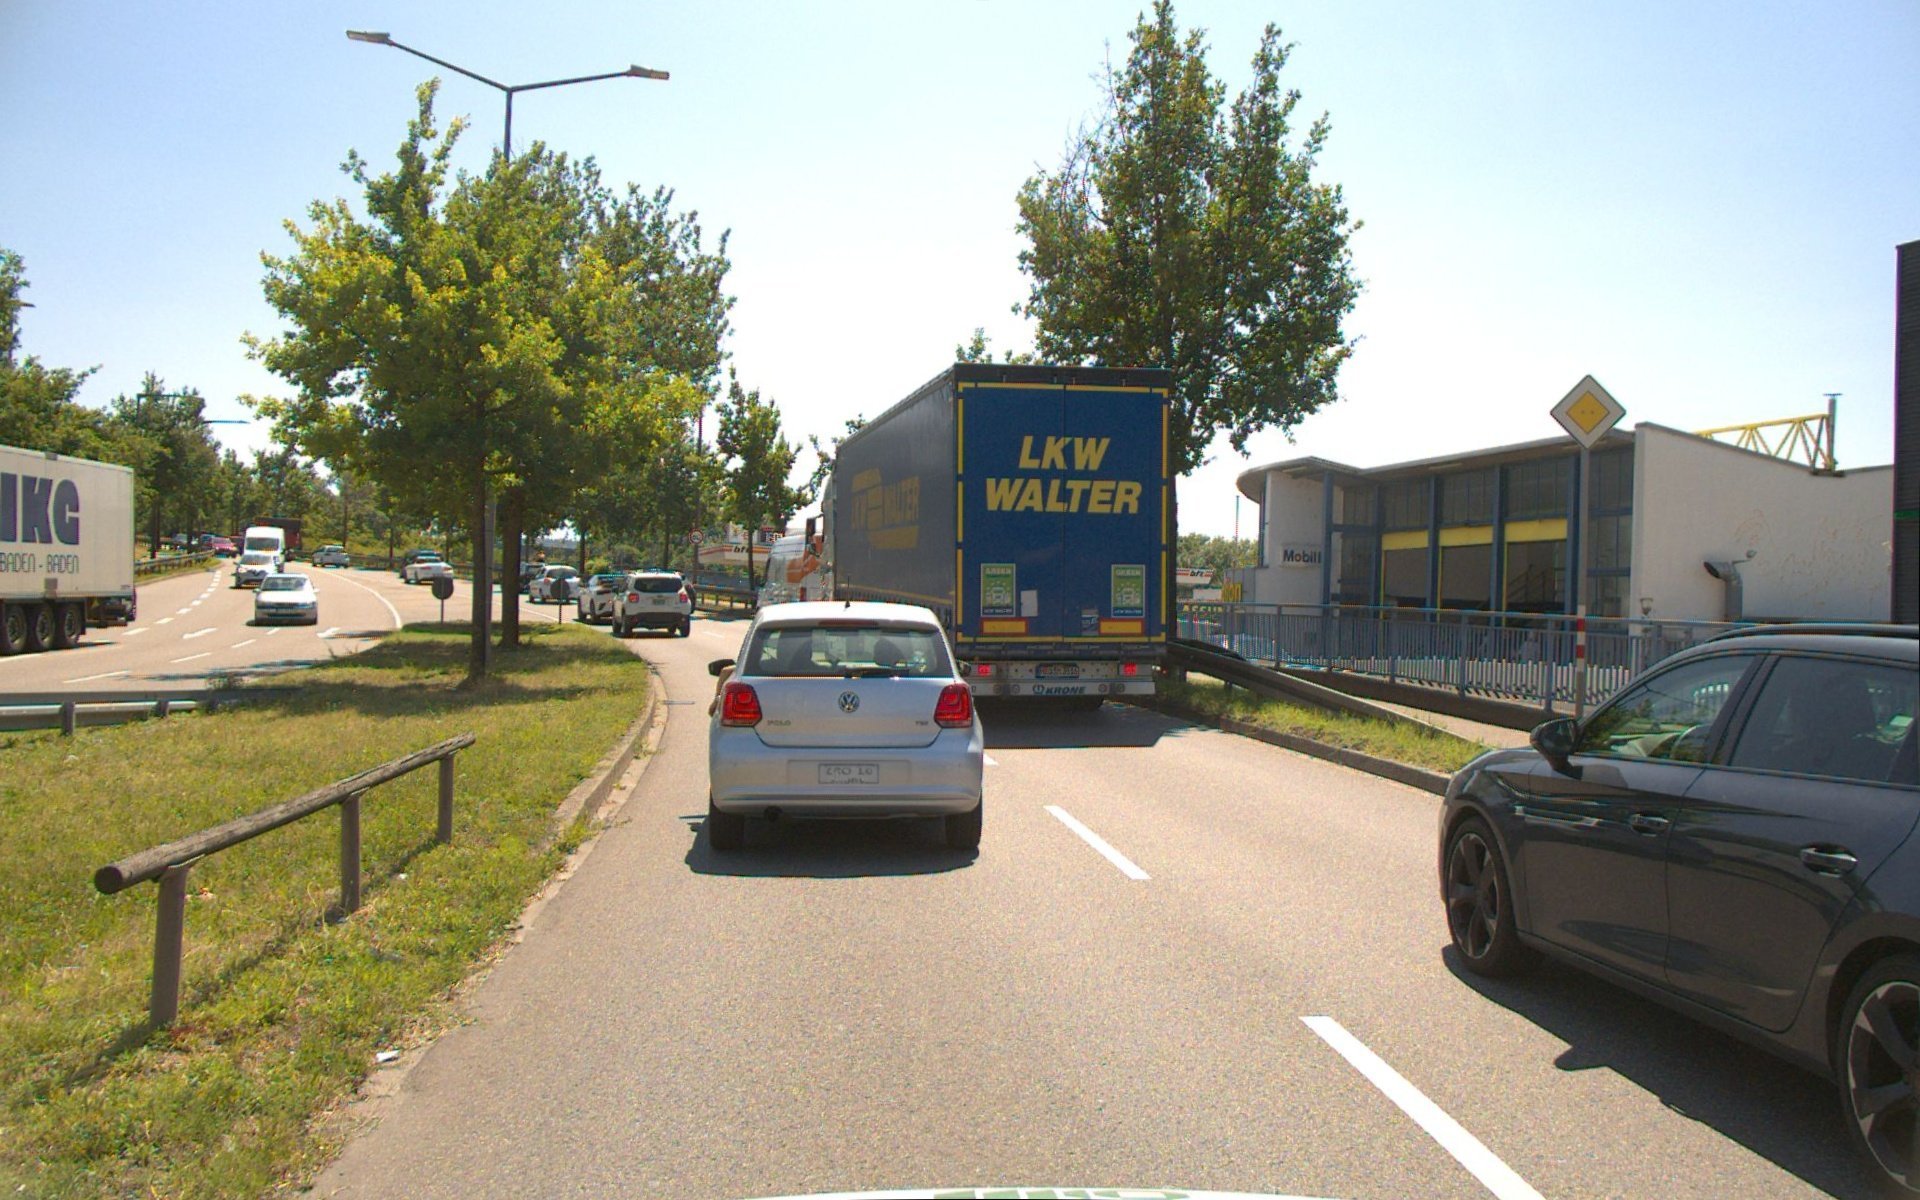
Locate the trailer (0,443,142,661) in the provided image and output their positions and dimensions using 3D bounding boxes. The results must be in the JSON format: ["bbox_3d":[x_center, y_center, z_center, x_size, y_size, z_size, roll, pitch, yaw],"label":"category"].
[{"bbox_3d":[-19.725,-0.945,31.944,2.954,4.120,12.687,1,1,-7],"label":"trailer"}]

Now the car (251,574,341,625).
[{"bbox_3d":[-19.448,-0.003,48.565,1.604,1.427,4.211,0,0,-10],"label":"car"}]

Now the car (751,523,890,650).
[{"bbox_3d":[-3.672,-0.414,42.192,2.141,2.951,6.328,1,1,-17],"label":"car"}]

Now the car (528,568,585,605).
[{"bbox_3d":[-16.179,-0.553,66.180,1.587,1.383,3.635,1,1,-24],"label":"car"}]

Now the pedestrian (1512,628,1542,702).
[{"bbox_3d":[13.546,1.554,39.525,0.419,1.732,0.587,1,-1,-14],"label":"pedestrian"}]

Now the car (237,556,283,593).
[{"bbox_3d":[-31.150,-1.119,73.679,1.610,1.594,4.050,0,0,-19],"label":"car"}]

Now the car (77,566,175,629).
[{"bbox_3d":[-23.193,-0.065,46.138,1.463,1.661,4.456,1,0,-14],"label":"car"}]

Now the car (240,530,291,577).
[{"bbox_3d":[-38.188,-2.565,91.064,2.062,2.544,5.781,0,2,-18],"label":"car"}]

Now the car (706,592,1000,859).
[{"bbox_3d":[-0.677,0.710,10.969,1.613,1.464,3.535,1,0,-3],"label":"car"}]

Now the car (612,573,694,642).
[{"bbox_3d":[-8.414,0.198,45.118,1.872,1.748,4.207,1,0,-15],"label":"car"}]

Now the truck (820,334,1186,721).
[{"bbox_3d":[-0.177,-0.877,26.648,2.781,4.271,16.438,1,0,-9],"label":"truck"}]

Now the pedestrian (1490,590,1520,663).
[{"bbox_3d":[13.223,0.641,40.122,0.512,1.732,0.486,1,-1,-13],"label":"pedestrian"}]

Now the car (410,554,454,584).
[{"bbox_3d":[-27.260,-1.590,85.357,1.645,1.490,3.550,1,0,-26],"label":"car"}]

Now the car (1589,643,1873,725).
[{"bbox_3d":[15.217,1.618,32.845,4.966,1.381,1.998,1,0,25],"label":"car"}]

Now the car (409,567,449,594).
[{"bbox_3d":[-27.427,-0.990,85.311,1.439,1.337,3.607,1,0,-26],"label":"car"}]

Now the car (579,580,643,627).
[{"bbox_3d":[-11.033,0.078,52.129,1.472,1.383,3.641,1,1,-20],"label":"car"}]

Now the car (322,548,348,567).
[{"bbox_3d":[-42.356,-2.863,112.017,1.306,1.158,2.969,1,0,-27],"label":"car"}]

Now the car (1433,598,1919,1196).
[{"bbox_3d":[3.069,0.752,5.205,1.574,1.481,4.230,1,0,-6],"label":"car"}]
